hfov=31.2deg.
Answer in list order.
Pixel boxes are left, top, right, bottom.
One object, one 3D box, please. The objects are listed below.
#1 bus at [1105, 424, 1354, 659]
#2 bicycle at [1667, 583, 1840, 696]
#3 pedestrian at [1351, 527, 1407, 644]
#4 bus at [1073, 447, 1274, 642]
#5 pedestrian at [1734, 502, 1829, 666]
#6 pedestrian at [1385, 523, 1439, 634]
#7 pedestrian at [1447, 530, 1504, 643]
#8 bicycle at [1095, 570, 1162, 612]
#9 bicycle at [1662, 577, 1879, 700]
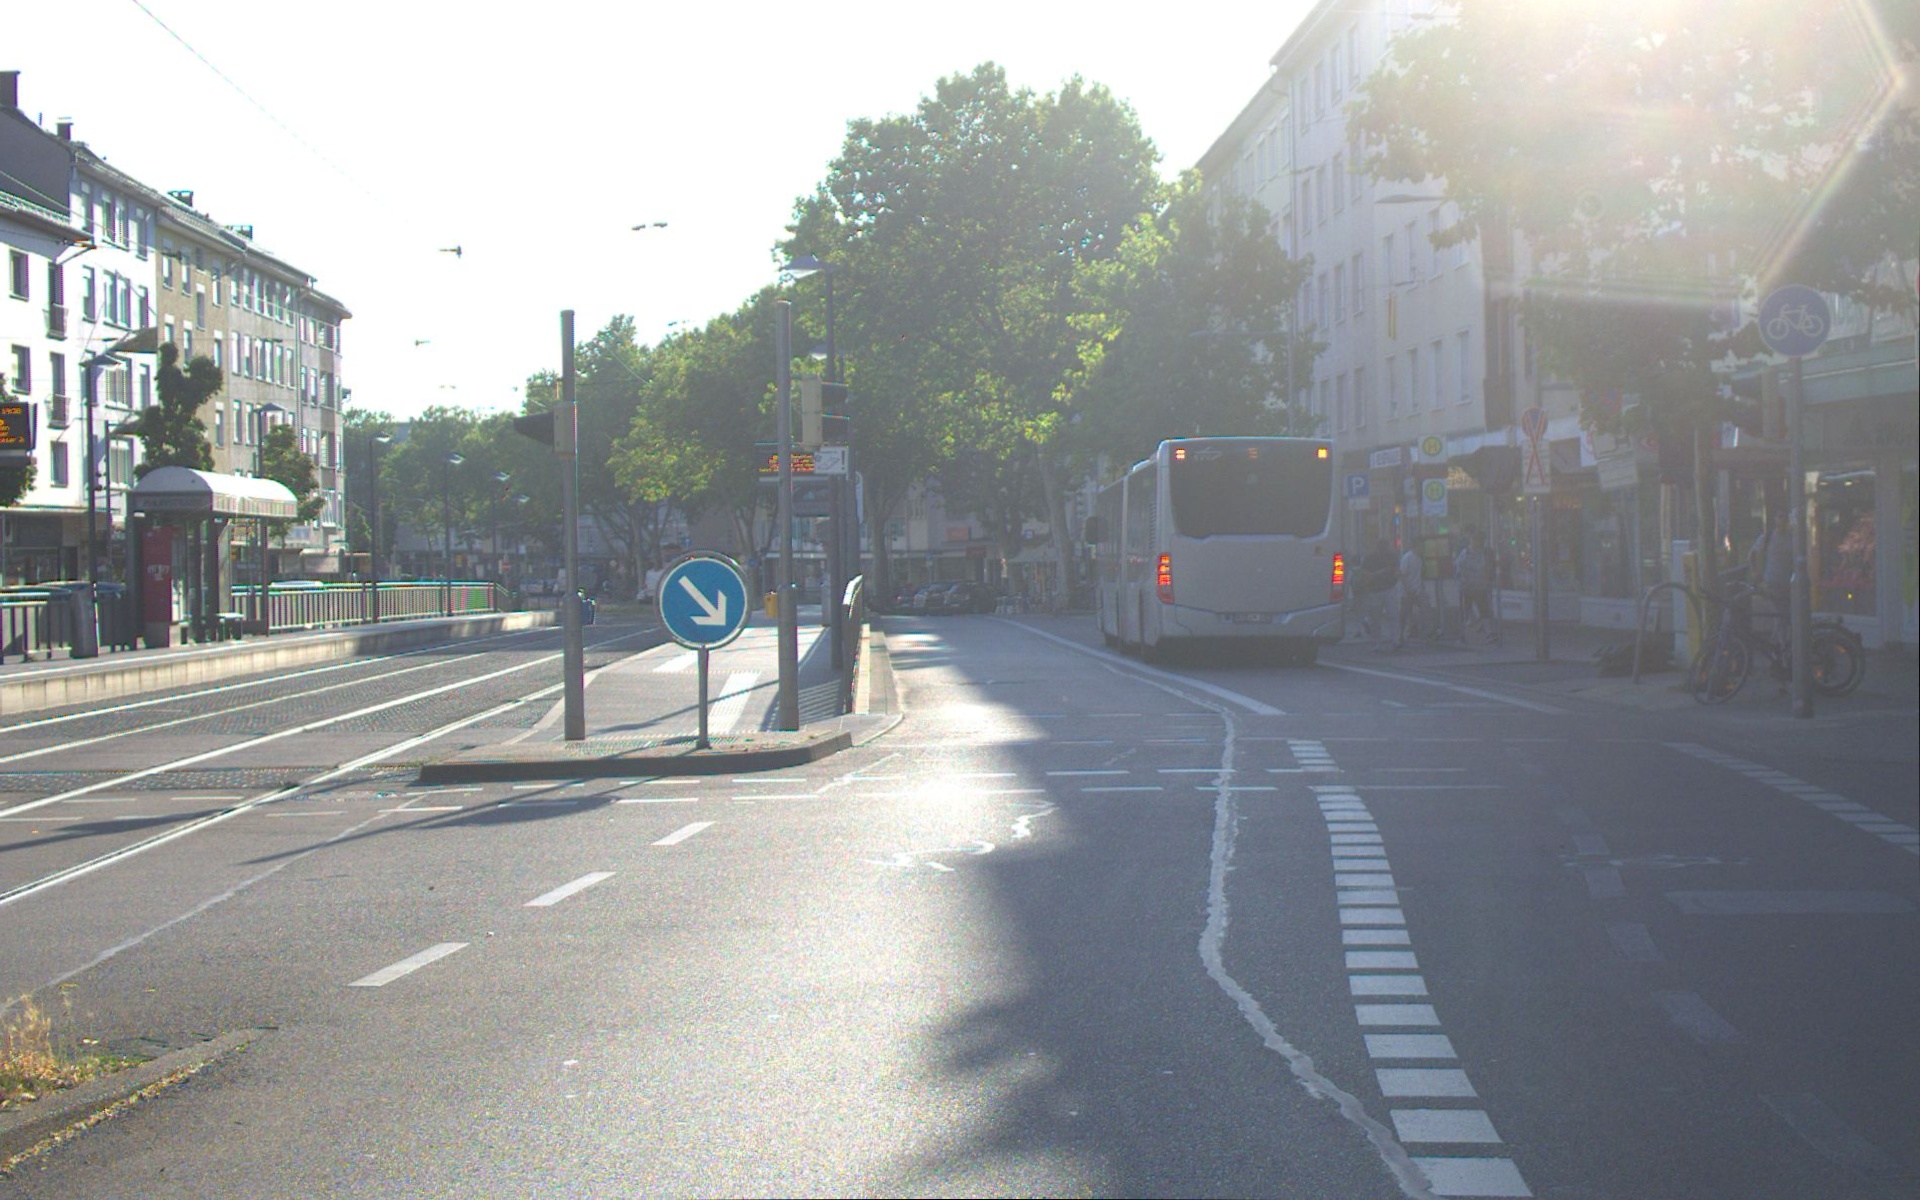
[{"bbox_3d":[3.766,-0.825,50.209,2.696,3.107,9.382,0,1,-1],"label":"bus"},{"bbox_3d":[7.353,0.362,31.868,1.482,1.005,0.454,-1,1,-4],"label":"bicycle"},{"bbox_3d":[6.518,-0.226,53.527,0.723,1.800,0.766,-1,0,-1],"label":"pedestrian"},{"bbox_3d":[3.554,-0.931,59.405,2.696,3.107,9.071,0,1,-1],"label":"bus"},{"bbox_3d":[9.202,-0.180,38.550,0.743,1.774,0.895,-3,0,-1],"label":"pedestrian"},{"bbox_3d":[7.310,-0.342,55.642,0.723,1.773,0.766,-1,0,-1],"label":"pedestrian"},{"bbox_3d":[7.987,-0.213,53.260,0.723,1.717,0.766,-1,0,-1],"label":"pedestrian"},{"bbox_3d":[4.939,-0.272,100.966,1.887,1.073,0.754,-5,1,2],"label":"bicycle"},{"bbox_3d":[7.357,0.345,31.241,1.798,1.005,0.541,-3,1,-4],"label":"bicycle"}]
